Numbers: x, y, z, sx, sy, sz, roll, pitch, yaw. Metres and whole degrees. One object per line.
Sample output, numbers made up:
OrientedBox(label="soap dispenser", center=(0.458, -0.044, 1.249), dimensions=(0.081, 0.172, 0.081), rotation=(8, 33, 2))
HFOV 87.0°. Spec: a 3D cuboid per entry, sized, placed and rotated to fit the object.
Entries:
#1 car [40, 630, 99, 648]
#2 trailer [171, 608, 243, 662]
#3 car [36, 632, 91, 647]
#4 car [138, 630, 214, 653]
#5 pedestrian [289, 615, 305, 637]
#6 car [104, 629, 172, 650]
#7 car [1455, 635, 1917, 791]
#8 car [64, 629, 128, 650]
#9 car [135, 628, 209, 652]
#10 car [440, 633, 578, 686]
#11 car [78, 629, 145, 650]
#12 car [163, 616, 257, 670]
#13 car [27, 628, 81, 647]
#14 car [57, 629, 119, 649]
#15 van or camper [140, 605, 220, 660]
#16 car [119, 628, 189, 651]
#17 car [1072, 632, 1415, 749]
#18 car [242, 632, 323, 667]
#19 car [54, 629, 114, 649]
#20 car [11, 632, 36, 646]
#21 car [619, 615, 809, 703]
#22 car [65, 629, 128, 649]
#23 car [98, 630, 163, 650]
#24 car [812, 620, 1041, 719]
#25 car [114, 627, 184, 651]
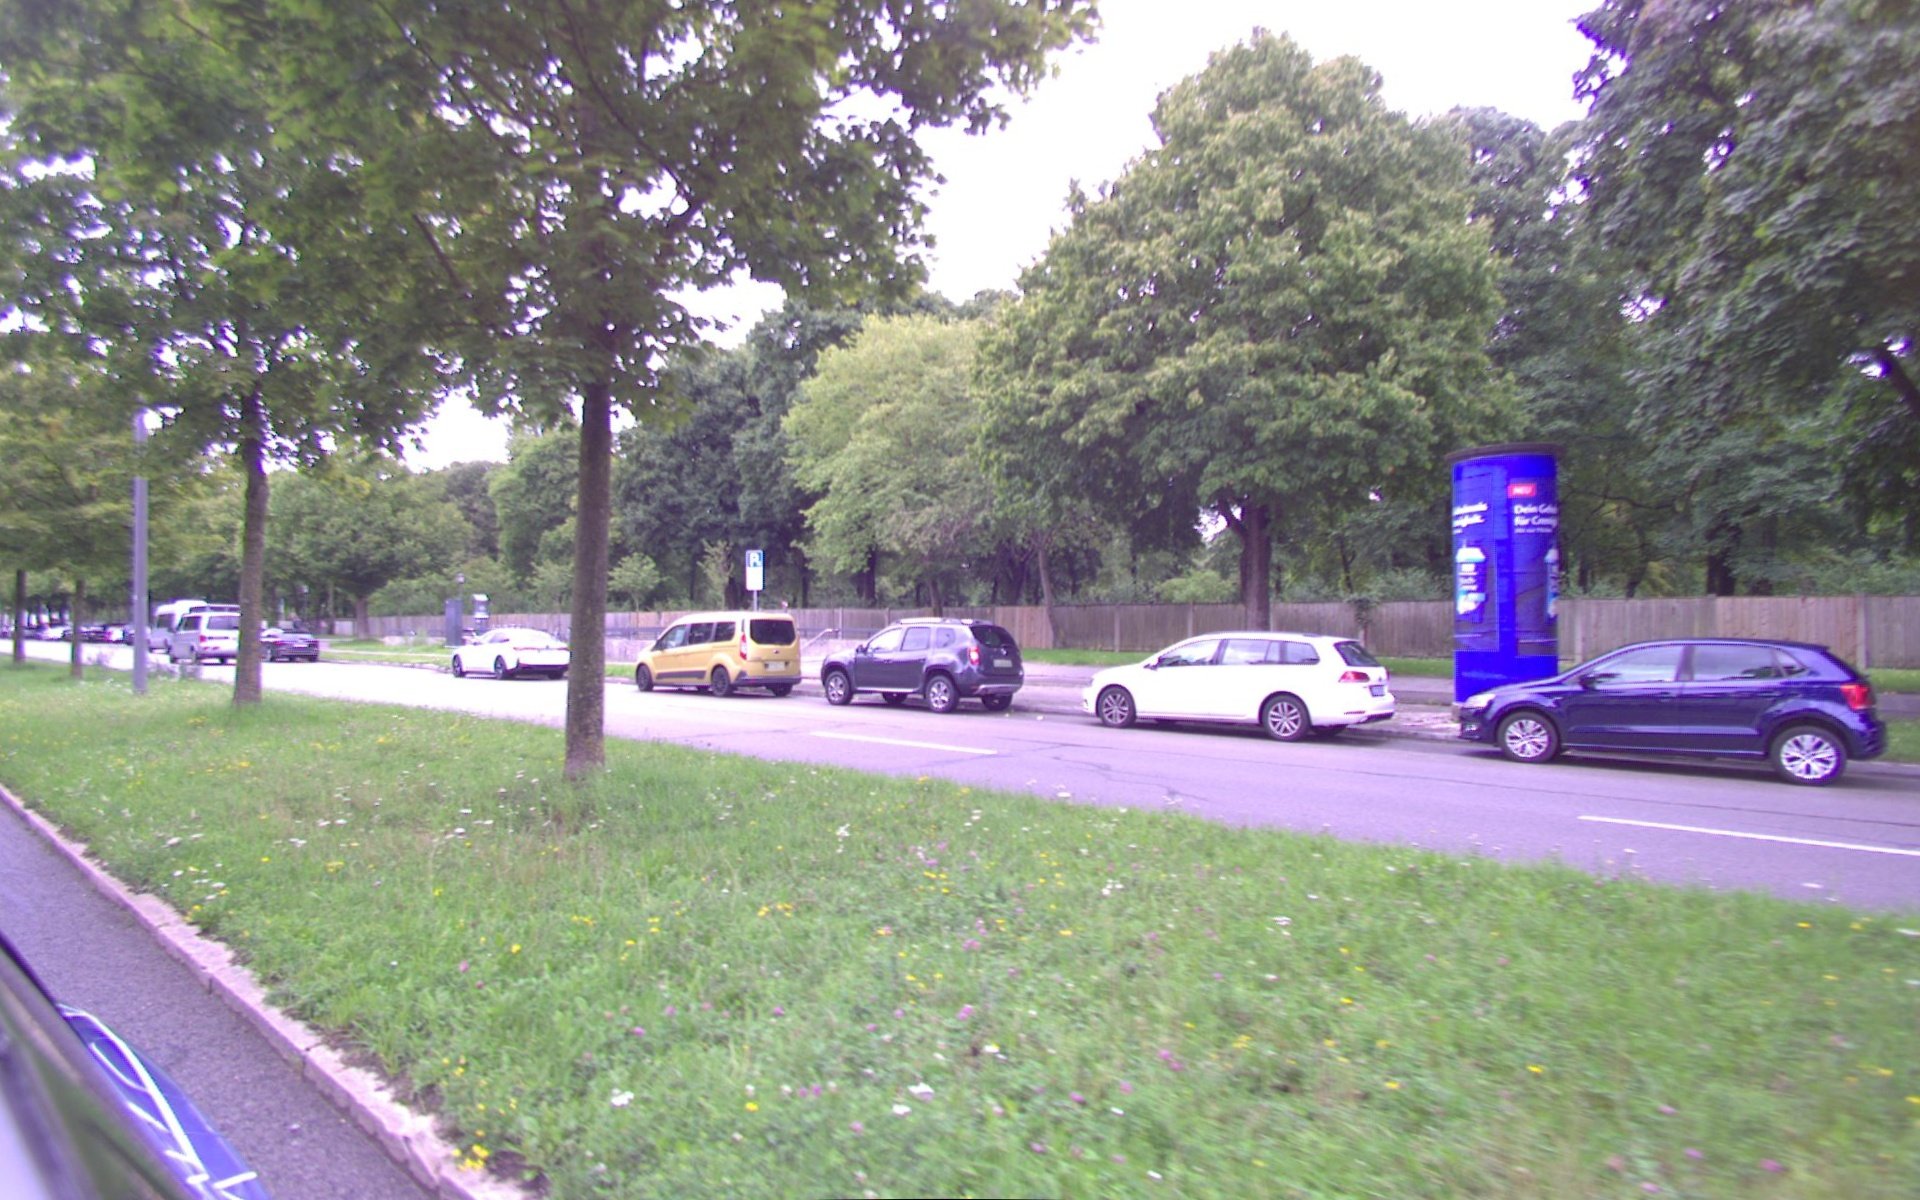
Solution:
OrientedBox(label="car", center=(-85.939, 3.750, 97.717), dimensions=(1.870, 1.569, 3.990), rotation=(-2, 0, 8))
OrientedBox(label="trailer", center=(-38.687, 1.804, 51.960), dimensions=(4.656, 2.610, 1.995), rotation=(-2, -3, 41))
OrientedBox(label="car", center=(-88.406, 3.892, 99.840), dimensions=(1.574, 1.376, 3.987), rotation=(-1, 0, 10))
OrientedBox(label="car", center=(-55.448, 2.920, 71.664), dimensions=(1.780, 1.449, 4.316), rotation=(-1, 0, 6))
OrientedBox(label="pedestrian", center=(-52.862, 2.075, 80.671), dimensions=(0.872, 1.781, 0.761), rotation=(-1, -2, 37))
OrientedBox(label="car", center=(-67.044, 3.174, 82.606), dimensions=(1.873, 1.474, 3.983), rotation=(-2, 0, 13))
OrientedBox(label="car", center=(7.787, 1.112, 11.195), dimensions=(3.893, 1.428, 1.597), rotation=(-2, -3, 39))
OrientedBox(label="car", center=(-74.408, 3.383, 87.221), dimensions=(1.870, 1.569, 3.990), rotation=(-2, 0, 8))
OrientedBox(label="car", center=(-57.889, 2.923, 74.442), dimensions=(1.780, 1.585, 4.316), rotation=(-1, 0, 6))
OrientedBox(label="car", center=(-13.540, 1.734, 30.252), dimensions=(4.871, 1.484, 1.838), rotation=(-2, -3, 41))
OrientedBox(label="car", center=(-72.067, 3.343, 86.012), dimensions=(1.873, 1.569, 3.983), rotation=(-2, 0, 13))
OrientedBox(label="car", center=(-28.840, 1.609, 38.847), dimensions=(4.990, 1.948, 1.781), rotation=(-1, -3, 40))
OrientedBox(label="car", center=(-93.296, 3.839, 104.307), dimensions=(1.760, 1.741, 3.992), rotation=(-1, 0, 6))
OrientedBox(label="car", center=(-79.093, 3.502, 91.867), dimensions=(1.870, 1.569, 3.990), rotation=(-2, 0, 8))
OrientedBox(label="van or camper", center=(-43.217, 1.816, 55.977), dimensions=(7.543, 2.859, 2.014), rotation=(-2, -3, 41))
OrientedBox(label="car", center=(-60.467, 2.923, 76.014), dimensions=(1.779, 1.497, 3.992), rotation=(-2, 0, 6))
OrientedBox(label="car", center=(4.001, 1.213, 14.802), dimensions=(4.530, 1.461, 1.744), rotation=(-2, -3, 41))
OrientedBox(label="car", center=(-29.349, 2.132, 43.790), dimensions=(4.429, 1.436, 1.781), rotation=(-2, -3, 41))
OrientedBox(label="car", center=(-81.602, 3.616, 94.336), dimensions=(1.870, 1.569, 3.990), rotation=(-2, 0, 8))
OrientedBox(label="car", center=(-102.493, 4.221, 110.719), dimensions=(1.864, 1.454, 4.171), rotation=(0, -1, -45))
OrientedBox(label="car", center=(-5.676, 1.295, 22.990), dimensions=(4.816, 1.796, 1.795), rotation=(-2, -3, 42))
OrientedBox(label="car", center=(-76.780, 3.485, 90.068), dimensions=(1.870, 1.569, 3.990), rotation=(-2, 0, 8))
OrientedBox(label="car", center=(-69.300, 3.315, 84.652), dimensions=(1.723, 1.466, 3.983), rotation=(-2, 0, 13))
OrientedBox(label="car", center=(-0.701, 1.236, 18.958), dimensions=(4.253, 1.658, 1.719), rotation=(-2, -3, 41))
OrientedBox(label="car", center=(-62.531, 3.004, 78.128), dimensions=(1.783, 1.599, 3.985), rotation=(-2, 0, 12))
